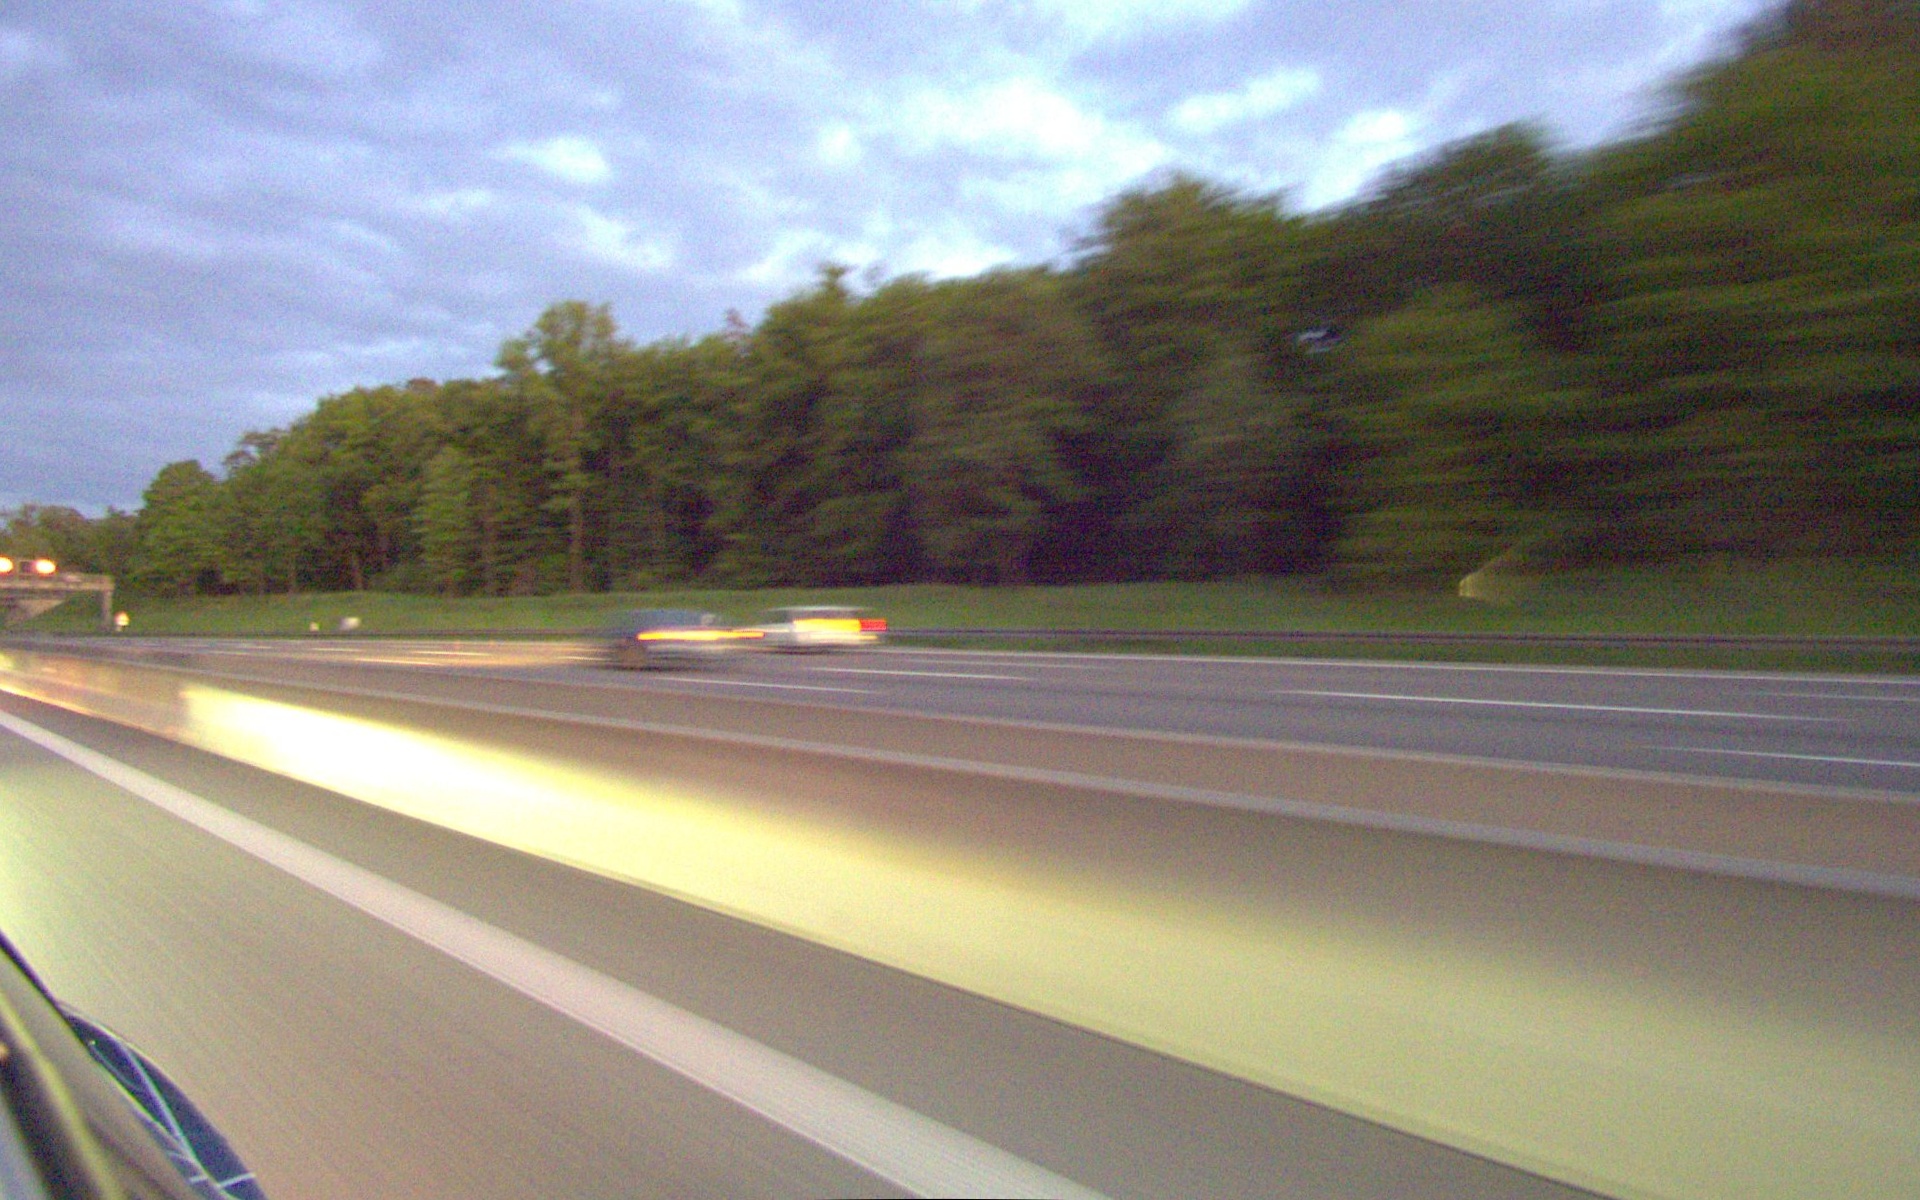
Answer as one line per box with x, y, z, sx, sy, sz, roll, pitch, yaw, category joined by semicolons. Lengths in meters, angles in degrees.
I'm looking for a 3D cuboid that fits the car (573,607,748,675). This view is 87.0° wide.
-7.473;0.984;25.014;4.772;1.474;1.824;-2;0;40;car

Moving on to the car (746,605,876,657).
-4.744;0.969;31.927;3.996;1.474;1.824;-2;0;40;car
